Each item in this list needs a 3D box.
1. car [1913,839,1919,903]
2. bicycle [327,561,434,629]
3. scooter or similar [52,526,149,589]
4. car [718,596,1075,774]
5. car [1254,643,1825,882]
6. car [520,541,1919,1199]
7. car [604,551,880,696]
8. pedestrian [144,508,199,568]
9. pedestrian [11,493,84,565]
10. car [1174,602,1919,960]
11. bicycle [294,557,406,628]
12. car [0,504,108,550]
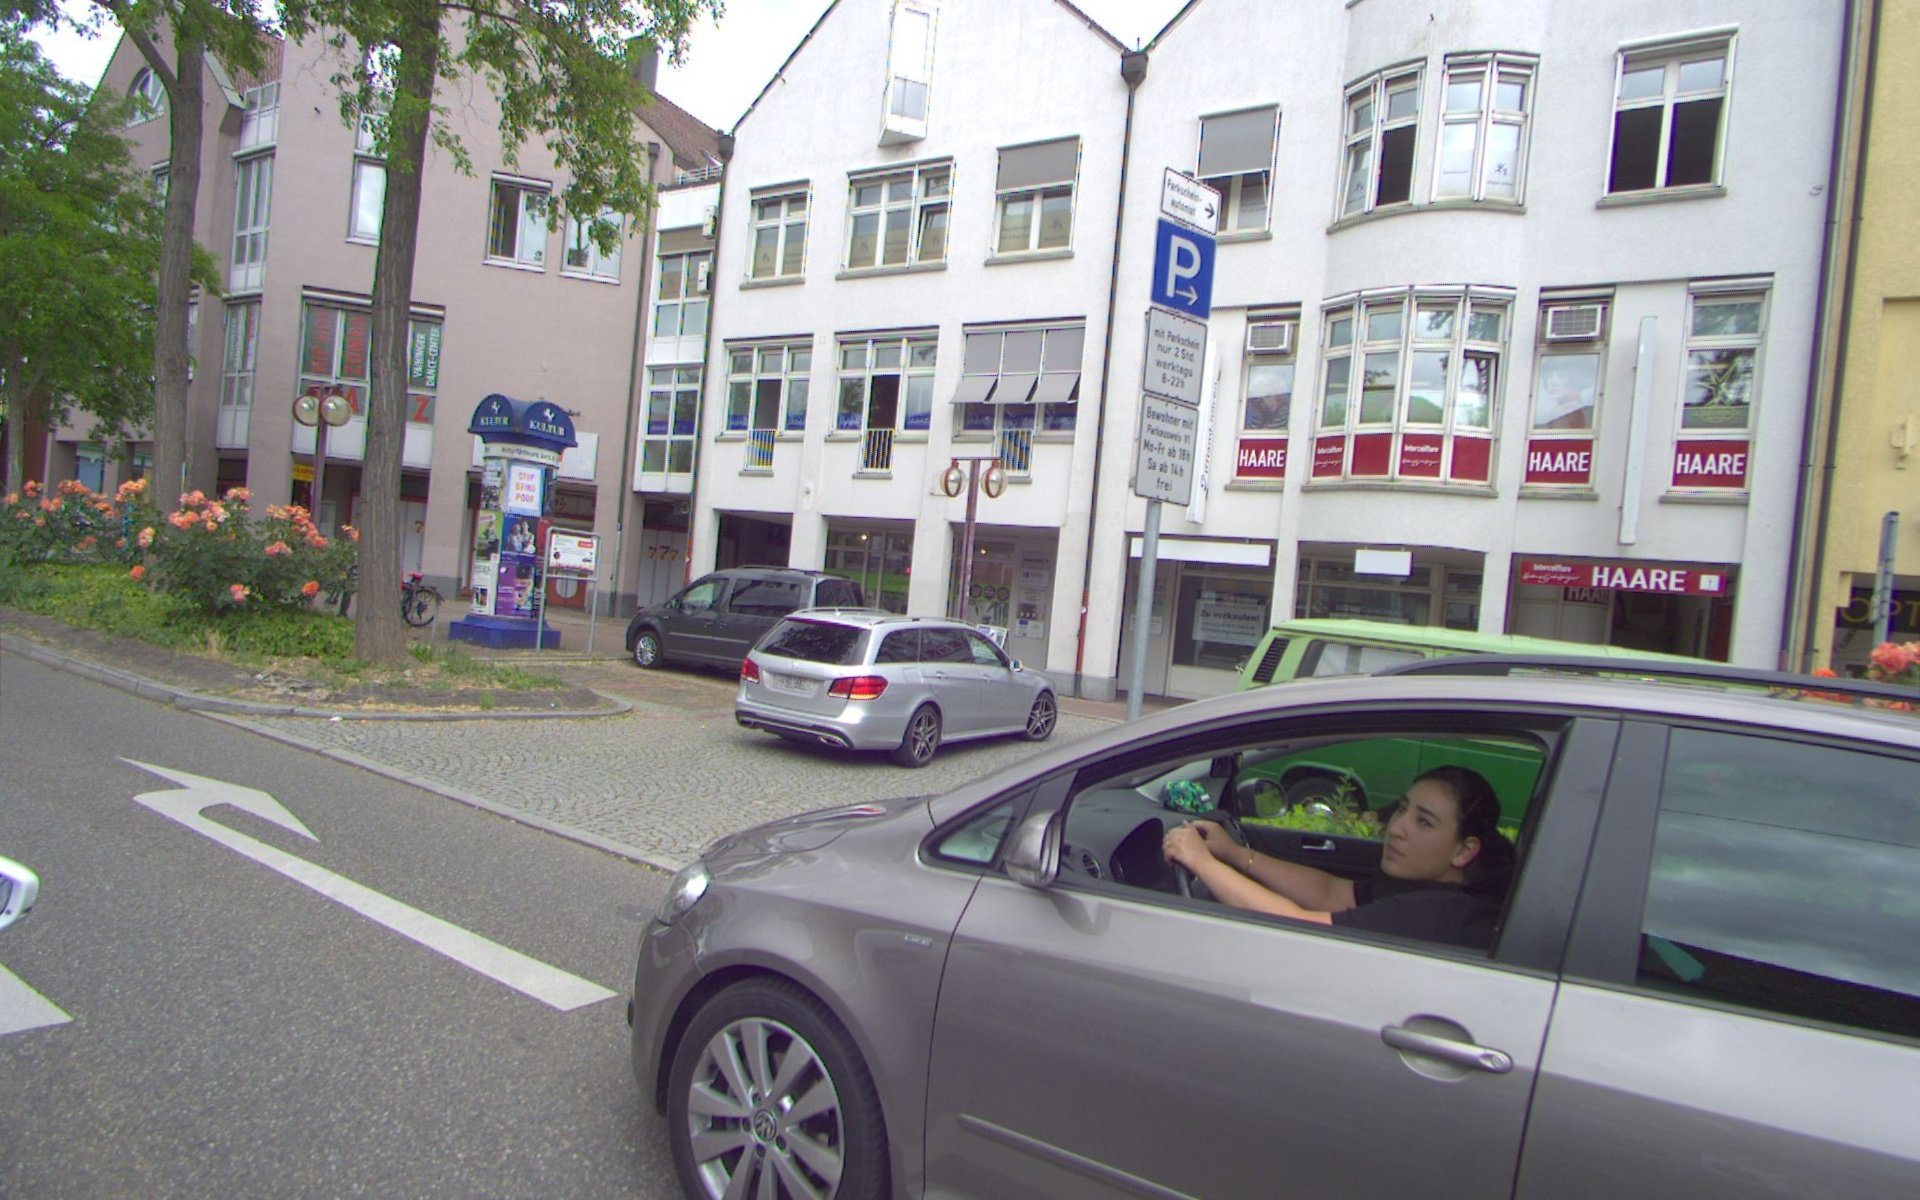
[{"bbox_3d":[9.074,1.822,5.867,4.672,1.326,1.840,6,1,29],"label":"car"},{"bbox_3d":[-10.522,-0.086,18.302,1.545,1.062,0.405,6,1,-18],"label":"bicycle"},{"bbox_3d":[-17.672,-0.877,20.681,1.852,1.101,0.471,6,1,14],"label":"scooter or similar"},{"bbox_3d":[-0.456,0.893,11.584,1.710,1.472,4.643,6,0,30],"label":"car"},{"bbox_3d":[5.751,1.490,10.625,4.671,1.567,1.996,6,1,28],"label":"car"},{"bbox_3d":[1.087,0.890,2.406,3.932,1.547,1.801,6,-2,30],"label":"car"},{"bbox_3d":[-3.606,0.337,16.480,4.188,1.827,1.736,6,1,29],"label":"car"},{"bbox_3d":[-23.085,-1.814,29.473,1.041,1.604,0.831,6,0,30],"label":"pedestrian"},{"bbox_3d":[-24.407,-1.901,26.927,1.091,1.736,1.057,6,0,30],"label":"pedestrian"},{"bbox_3d":[4.437,1.202,8.417,4.672,1.900,1.996,6,1,29],"label":"car"},{"bbox_3d":[-10.669,-0.120,17.630,1.545,1.062,0.405,6,1,-18],"label":"bicycle"},{"bbox_3d":[-38.525,-3.109,41.905,1.770,1.421,4.182,7,-1,28],"label":"car"}]
